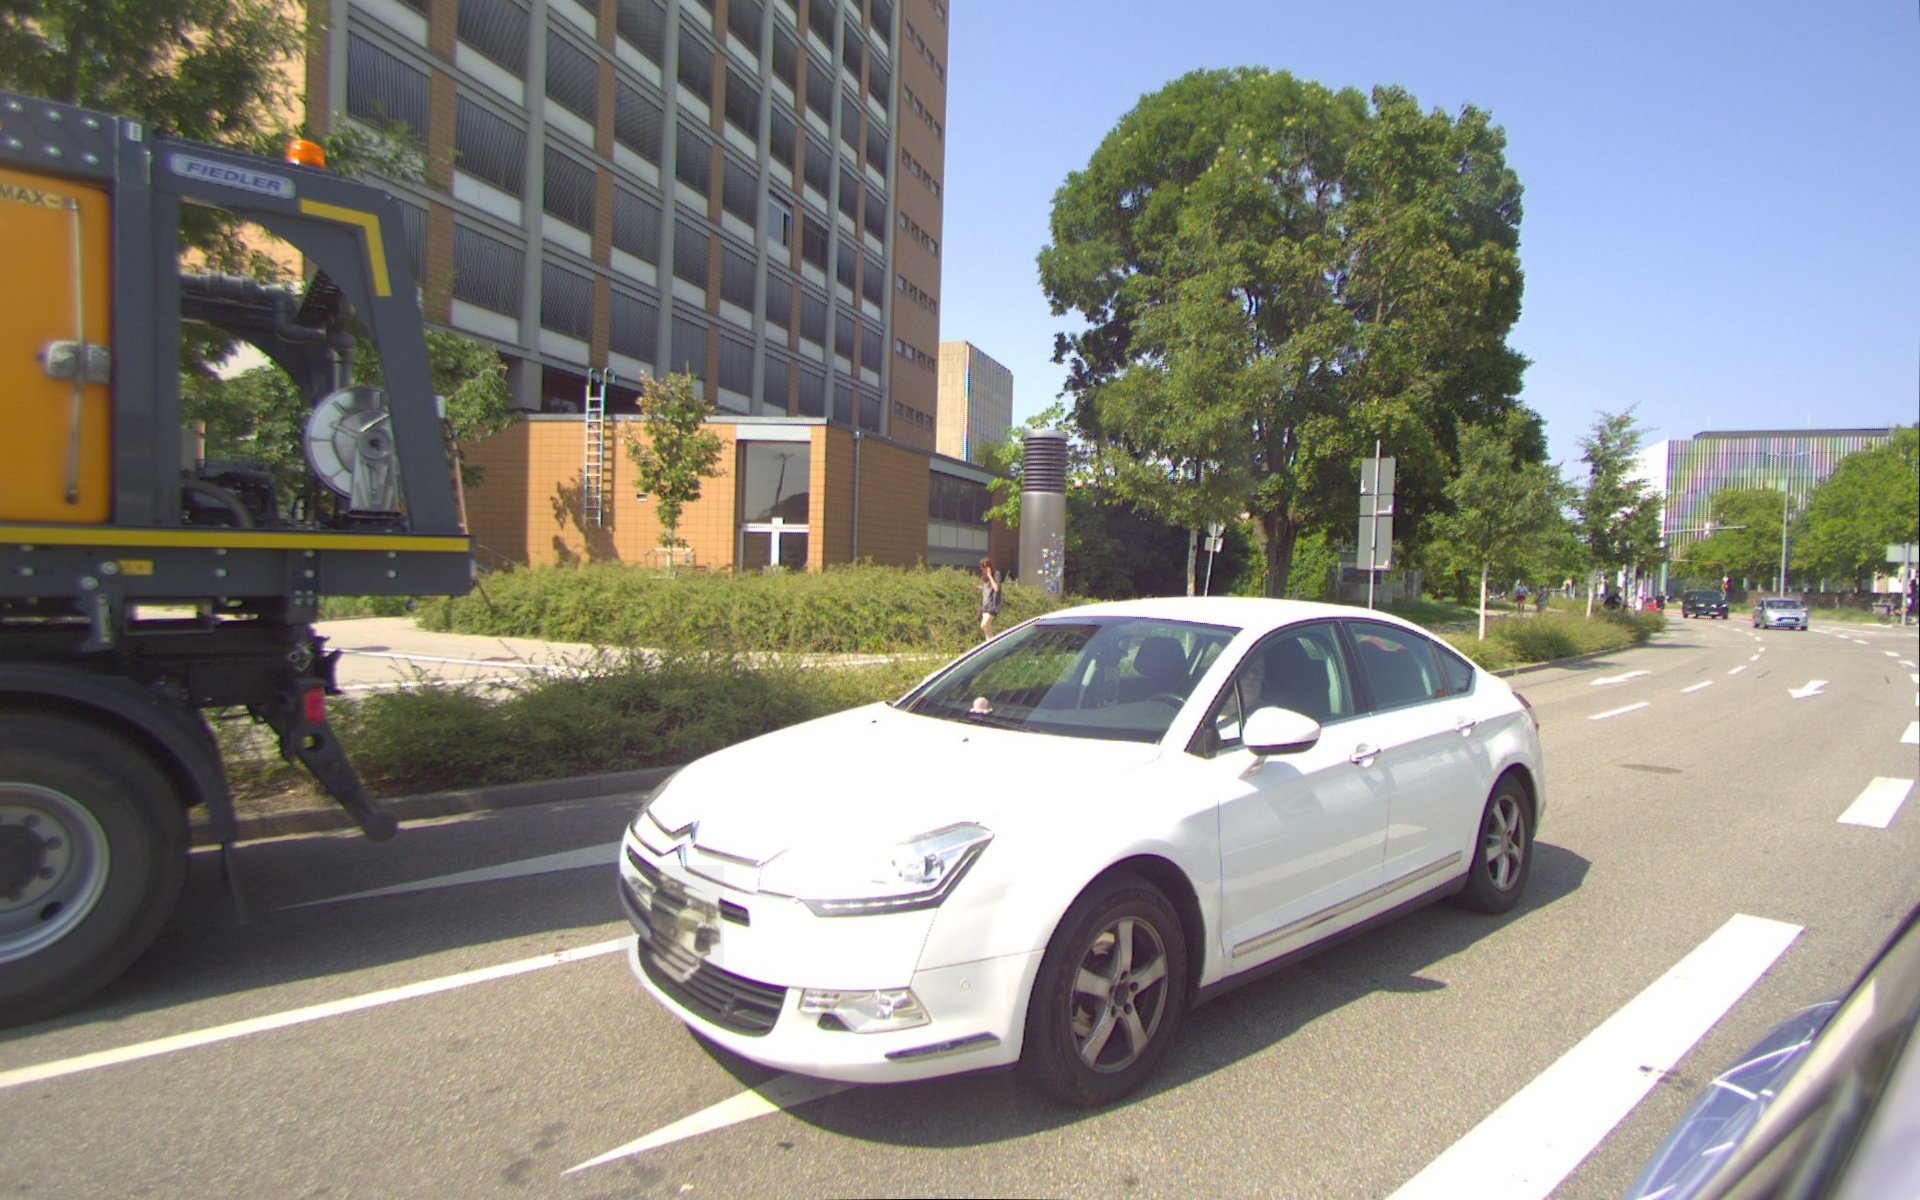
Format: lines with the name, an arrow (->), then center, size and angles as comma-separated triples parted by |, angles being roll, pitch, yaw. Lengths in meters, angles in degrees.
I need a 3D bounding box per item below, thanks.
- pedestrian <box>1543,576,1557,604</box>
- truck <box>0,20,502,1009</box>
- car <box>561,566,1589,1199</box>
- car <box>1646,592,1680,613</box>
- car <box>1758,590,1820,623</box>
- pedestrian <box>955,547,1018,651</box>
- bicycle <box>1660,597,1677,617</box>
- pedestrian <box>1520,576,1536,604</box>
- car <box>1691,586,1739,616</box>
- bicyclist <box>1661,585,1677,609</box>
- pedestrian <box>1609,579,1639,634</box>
pedestrian -> 27.931, -0.485, 47.897 | 0.572, 1.315, 0.433 | 0, 0, 30
truck -> -5.308, -0.300, 3.068 | 6.736, 3.174, 2.498 | 0, 1, -39
car -> 0.895, 0.633, 4.343 | 4.529, 1.446, 1.772 | 0, 2, -41
car -> 49.170, 0.161, 70.797 | 1.637, 1.449, 3.775 | 1, 1, 30
car -> 40.976, 0.315, 50.120 | 1.646, 1.550, 4.485 | 0, 0, 30
pedestrian -> 0.450, -0.035, 17.276 | 0.792, 1.720, 0.671 | 1, 1, -42
bicycle -> 43.313, 0.415, 61.897 | 0.589, 1.183, 2.213 | 2, 2, 29
pedestrian -> 27.113, -0.483, 48.295 | 0.630, 1.315, 0.481 | 0, 0, 32
car -> 50.810, 0.020, 68.193 | 1.874, 1.943, 4.489 | 1, 1, 28
bicyclist -> 43.285, -0.198, 61.793 | 0.674, 1.417, 1.038 | 2, 1, 30
pedestrian -> 23.806, 0.211, 36.276 | 0.818, 1.926, 0.622 | 2, 1, 37
